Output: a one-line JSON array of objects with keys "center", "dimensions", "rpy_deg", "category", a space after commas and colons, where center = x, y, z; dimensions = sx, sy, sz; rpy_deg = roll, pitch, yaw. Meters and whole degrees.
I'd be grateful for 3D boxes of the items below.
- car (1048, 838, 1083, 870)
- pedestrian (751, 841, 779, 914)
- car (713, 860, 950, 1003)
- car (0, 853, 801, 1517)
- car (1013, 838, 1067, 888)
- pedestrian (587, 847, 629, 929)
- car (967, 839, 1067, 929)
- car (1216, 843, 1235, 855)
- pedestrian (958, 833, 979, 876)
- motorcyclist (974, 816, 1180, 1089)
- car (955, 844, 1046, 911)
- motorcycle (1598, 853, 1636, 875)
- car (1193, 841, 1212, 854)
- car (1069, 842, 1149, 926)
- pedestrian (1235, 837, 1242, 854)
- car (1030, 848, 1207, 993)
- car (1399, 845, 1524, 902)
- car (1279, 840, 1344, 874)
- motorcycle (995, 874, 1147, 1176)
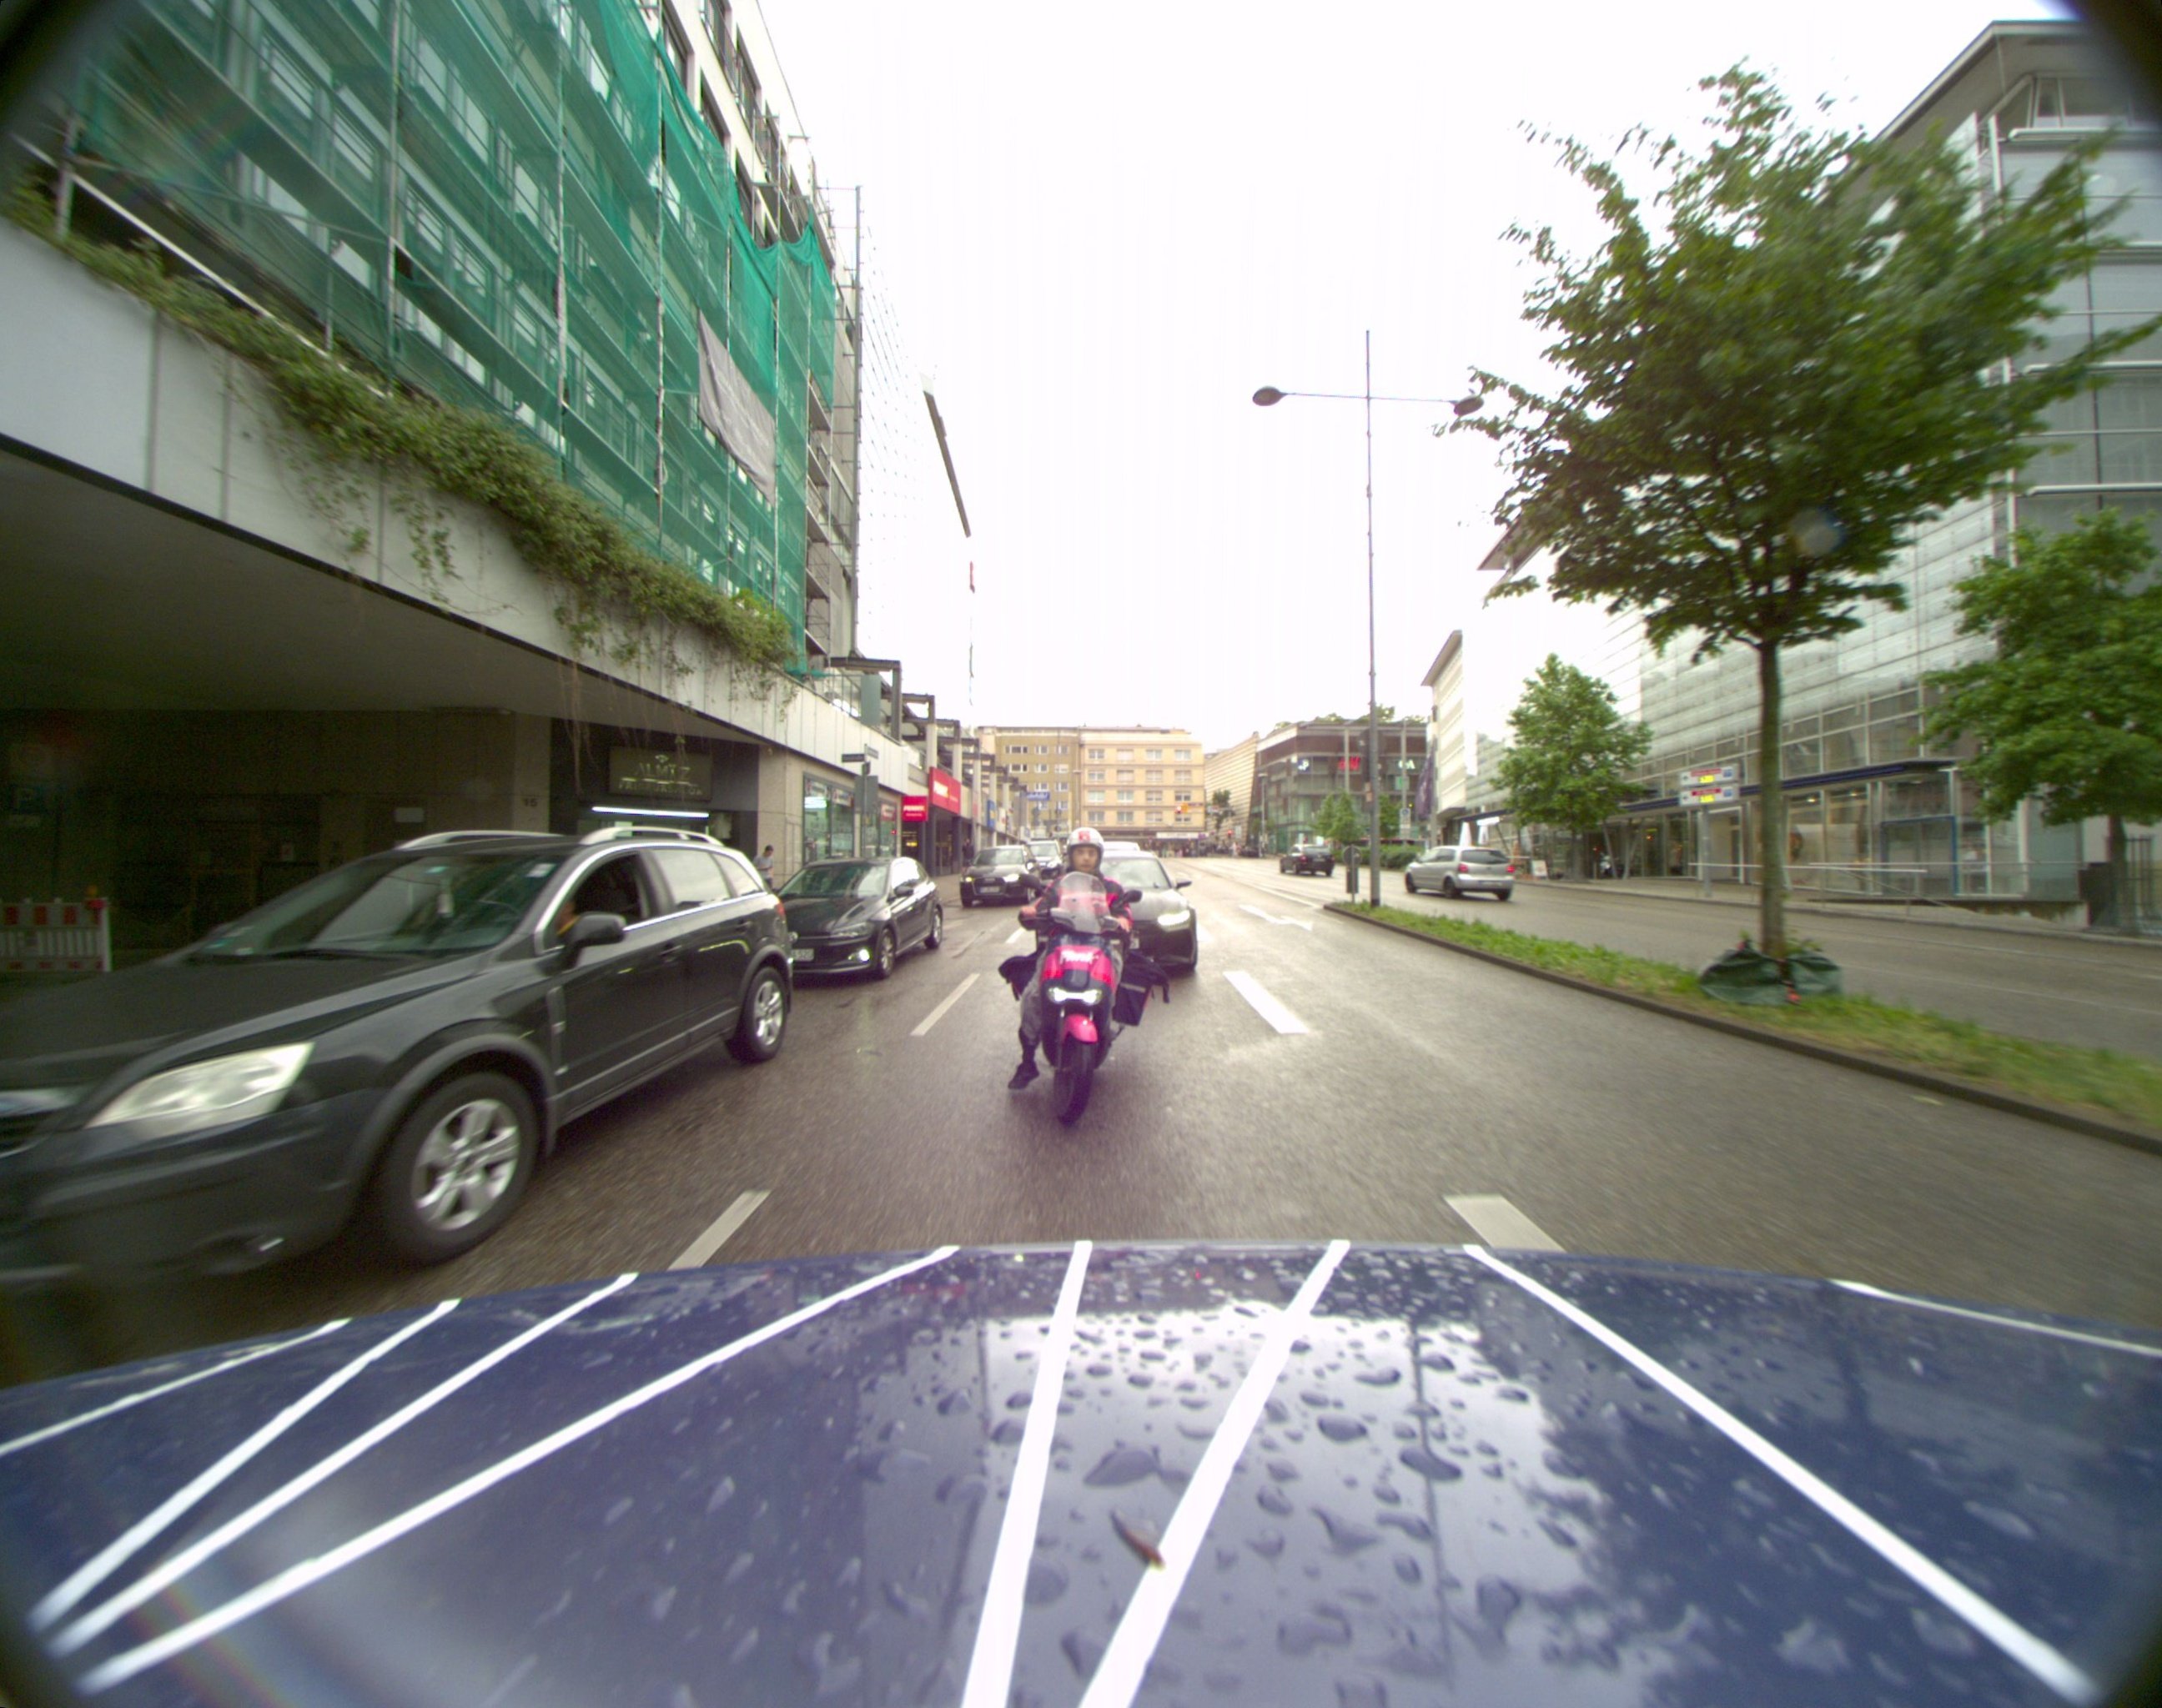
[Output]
[{"center": [-0.849, -0.039, 43.501], "dimensions": [1.832, 1.726, 3.999], "rpy_deg": [1, 1, 0], "category": "car"}, {"center": [-7.017, 0.513, 16.866], "dimensions": [0.404, 1.588, 0.464], "rpy_deg": [0, 2, -1], "category": "pedestrian"}, {"center": [-3.046, 0.863, 10.147], "dimensions": [1.682, 1.422, 3.776], "rpy_deg": [-1, 1, 3], "category": "car"}, {"center": [-3.242, 0.874, 4.084], "dimensions": [1.735, 1.669, 4.249], "rpy_deg": [-2, 1, 2], "category": "car"}, {"center": [-1.492, 0.270, 29.005], "dimensions": [1.832, 1.726, 3.999], "rpy_deg": [1, 1, 0], "category": "car"}, {"center": [-8.791, 0.622, 14.134], "dimensions": [0.428, 1.480, 0.524], "rpy_deg": [1, 2, 2], "category": "pedestrian"}, {"center": [-1.297, 0.549, 16.885], "dimensions": [1.832, 1.726, 3.999], "rpy_deg": [1, 1, 0], "category": "car"}, {"center": [24.408, -0.903, 128.729], "dimensions": [2.000, 2.002, 3.997], "rpy_deg": [-2, 1, -7], "category": "car"}, {"center": [-4.902, 0.024, 33.209], "dimensions": [0.708, 1.771, 0.640], "rpy_deg": [5, 7, 1], "category": "pedestrian"}, {"center": [-0.027, 0.645, 5.423], "dimensions": [1.296, 1.757, 0.845], "rpy_deg": [-2, 2, -1], "category": "motorcyclist"}, {"center": [-2.138, 0.566, 21.252], "dimensions": [1.776, 1.575, 4.000], "rpy_deg": [-2, 1, 4], "category": "car"}, {"center": [28.163, 0.516, 39.901], "dimensions": [1.571, 1.066, 0.417], "rpy_deg": [1, 2, 9], "category": "motorcycle"}, {"center": [19.529, -1.009, 122.425], "dimensions": [2.000, 2.002, 3.997], "rpy_deg": [-2, 1, -7], "category": "car"}, {"center": [0.584, 0.588, 17.470], "dimensions": [1.632, 1.731, 3.599], "rpy_deg": [1, 1, 0], "category": "car"}, {"center": [17.553, -0.980, 84.832], "dimensions": [0.606, 1.831, 0.588], "rpy_deg": [-2, 2, 0], "category": "pedestrian"}, {"center": [0.433, 0.721, 10.618], "dimensions": [1.937, 1.511, 4.467], "rpy_deg": [-1, 1, 0], "category": "car"}, {"center": [10.662, 0.495, 21.579], "dimensions": [1.629, 1.429, 3.646], "rpy_deg": [0, 1, -1], "category": "car"}, {"center": [11.023, 0.103, 36.630], "dimensions": [1.998, 1.500, 4.185], "rpy_deg": [0, 1, 2], "category": "car"}, {"center": [-0.068, 0.997, 5.663], "dimensions": [0.832, 1.480, 2.863], "rpy_deg": [-1, 3, -1], "category": "motorcycle"}]
